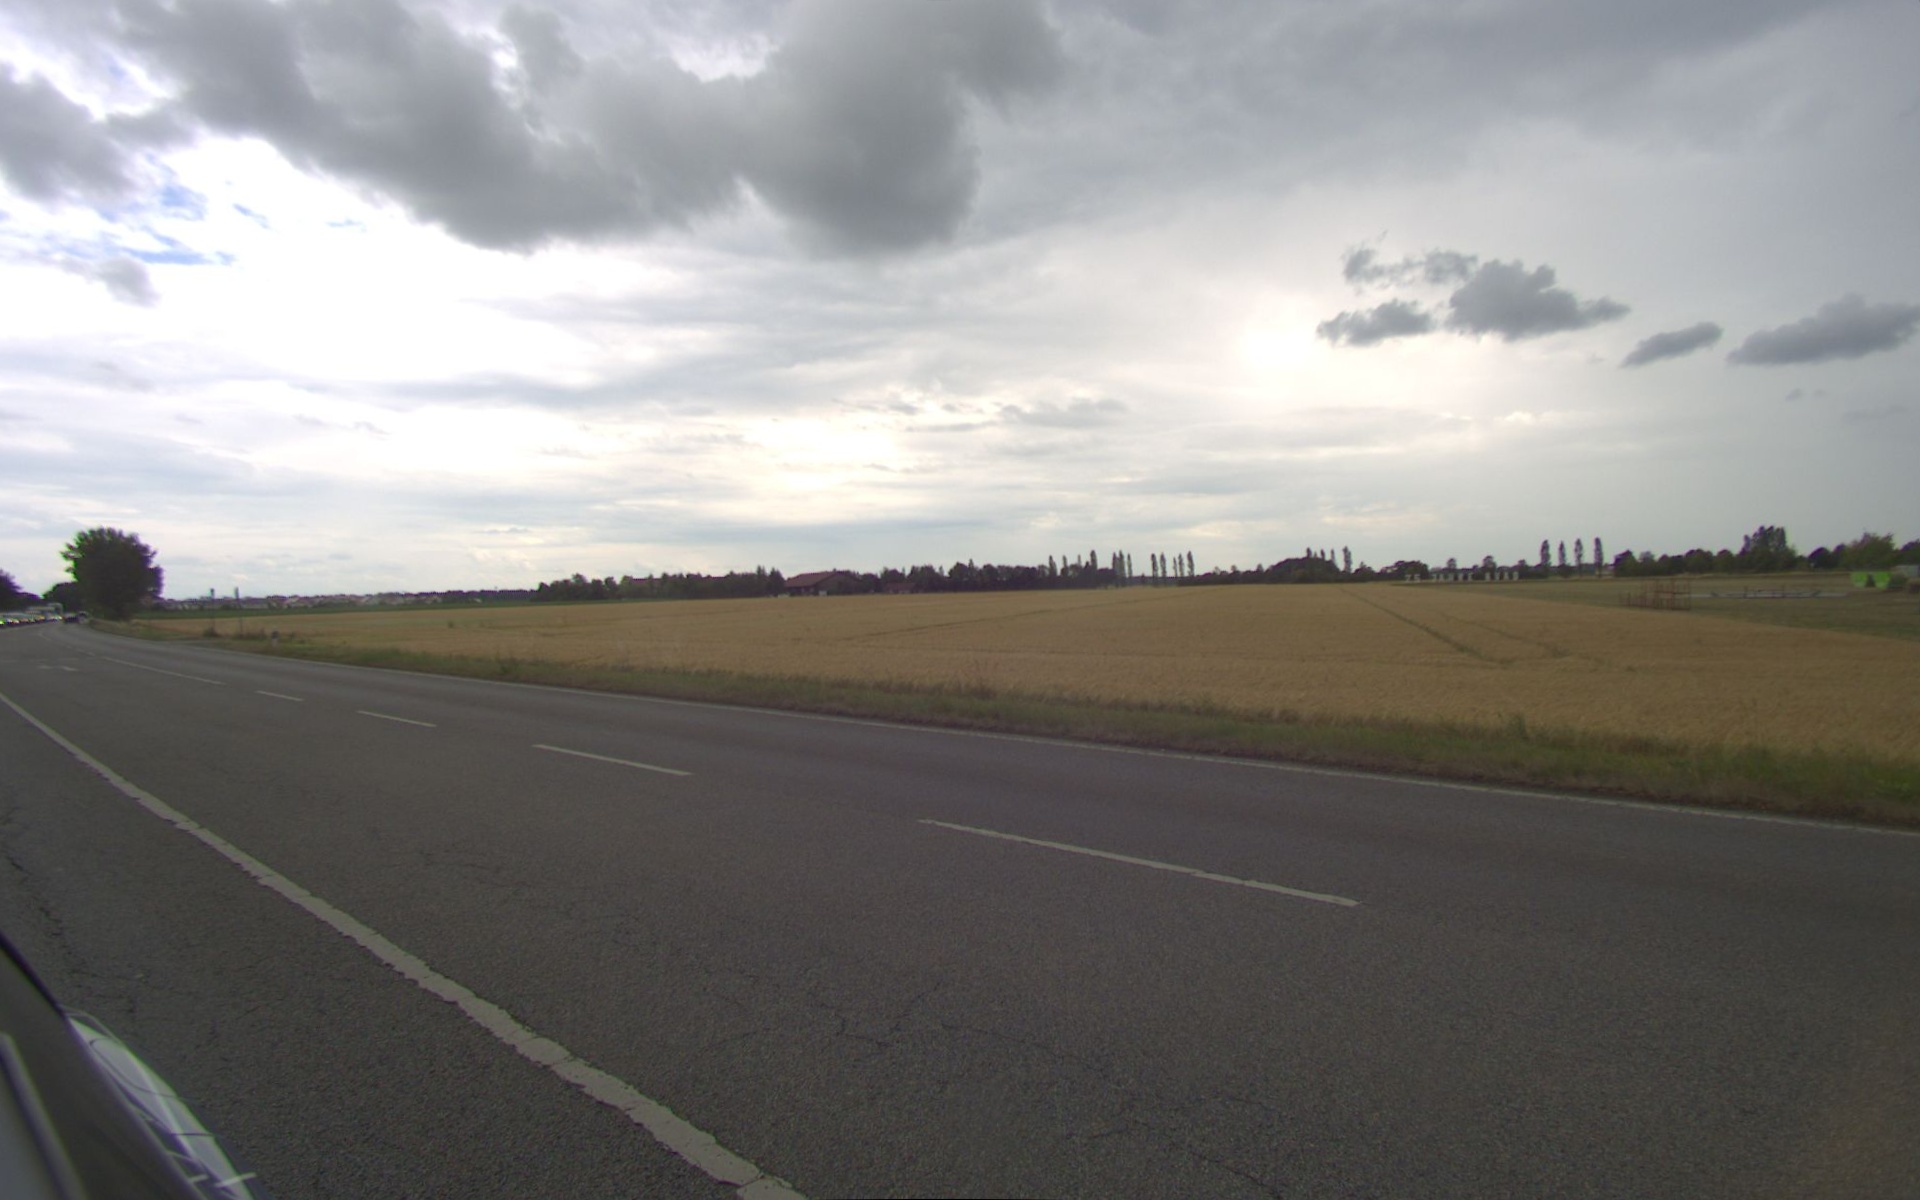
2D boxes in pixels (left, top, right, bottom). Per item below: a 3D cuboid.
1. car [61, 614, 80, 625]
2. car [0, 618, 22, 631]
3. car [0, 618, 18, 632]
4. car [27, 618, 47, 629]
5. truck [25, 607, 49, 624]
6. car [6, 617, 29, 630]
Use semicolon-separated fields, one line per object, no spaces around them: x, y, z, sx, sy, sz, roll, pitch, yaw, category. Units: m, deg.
-130.856;2.855;148.879;1.803;1.421;4.433;-1;0;-37;car
-118.075;3.032;125.669;1.924;1.595;4.146;-1;0;-36;car
-113.176;2.927;120.051;1.766;1.595;4.145;-1;0;-38;car
-140.331;3.607;153.836;1.765;1.551;4.146;-1;0;-36;car
-157.405;2.561;172.570;2.284;2.786;7.689;-1;0;-37;truck
-124.414;3.100;133.626;1.766;1.595;4.146;-1;0;-37;car
